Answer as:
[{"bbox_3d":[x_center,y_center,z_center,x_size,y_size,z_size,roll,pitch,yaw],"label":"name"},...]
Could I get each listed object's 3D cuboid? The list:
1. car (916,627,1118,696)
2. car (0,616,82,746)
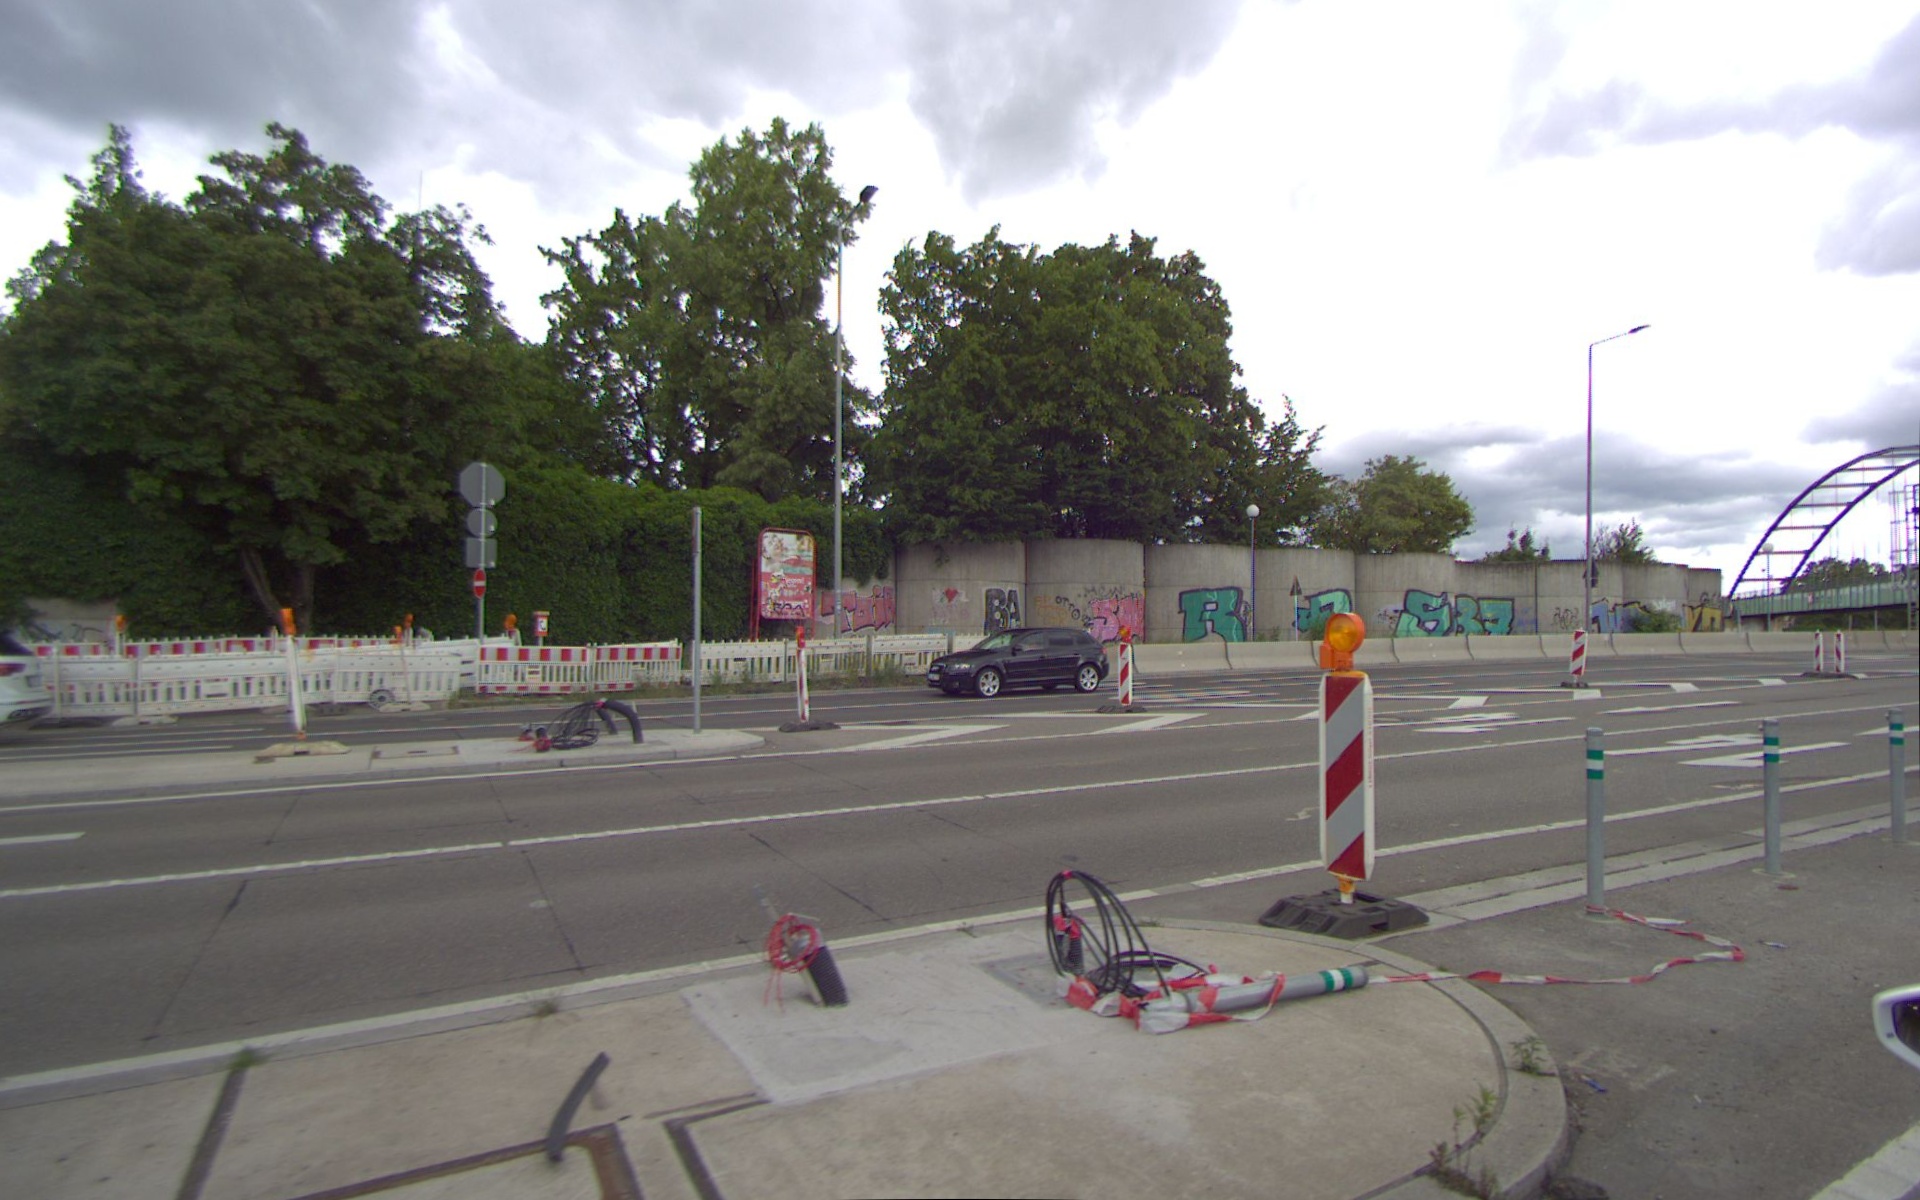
[{"bbox_3d":[1.280,1.296,22.057,4.147,1.368,1.854,1,-2,-31],"label":"car"},{"bbox_3d":[-14.432,1.035,12.955,4.321,1.684,1.840,1,-1,-28],"label":"car"}]
